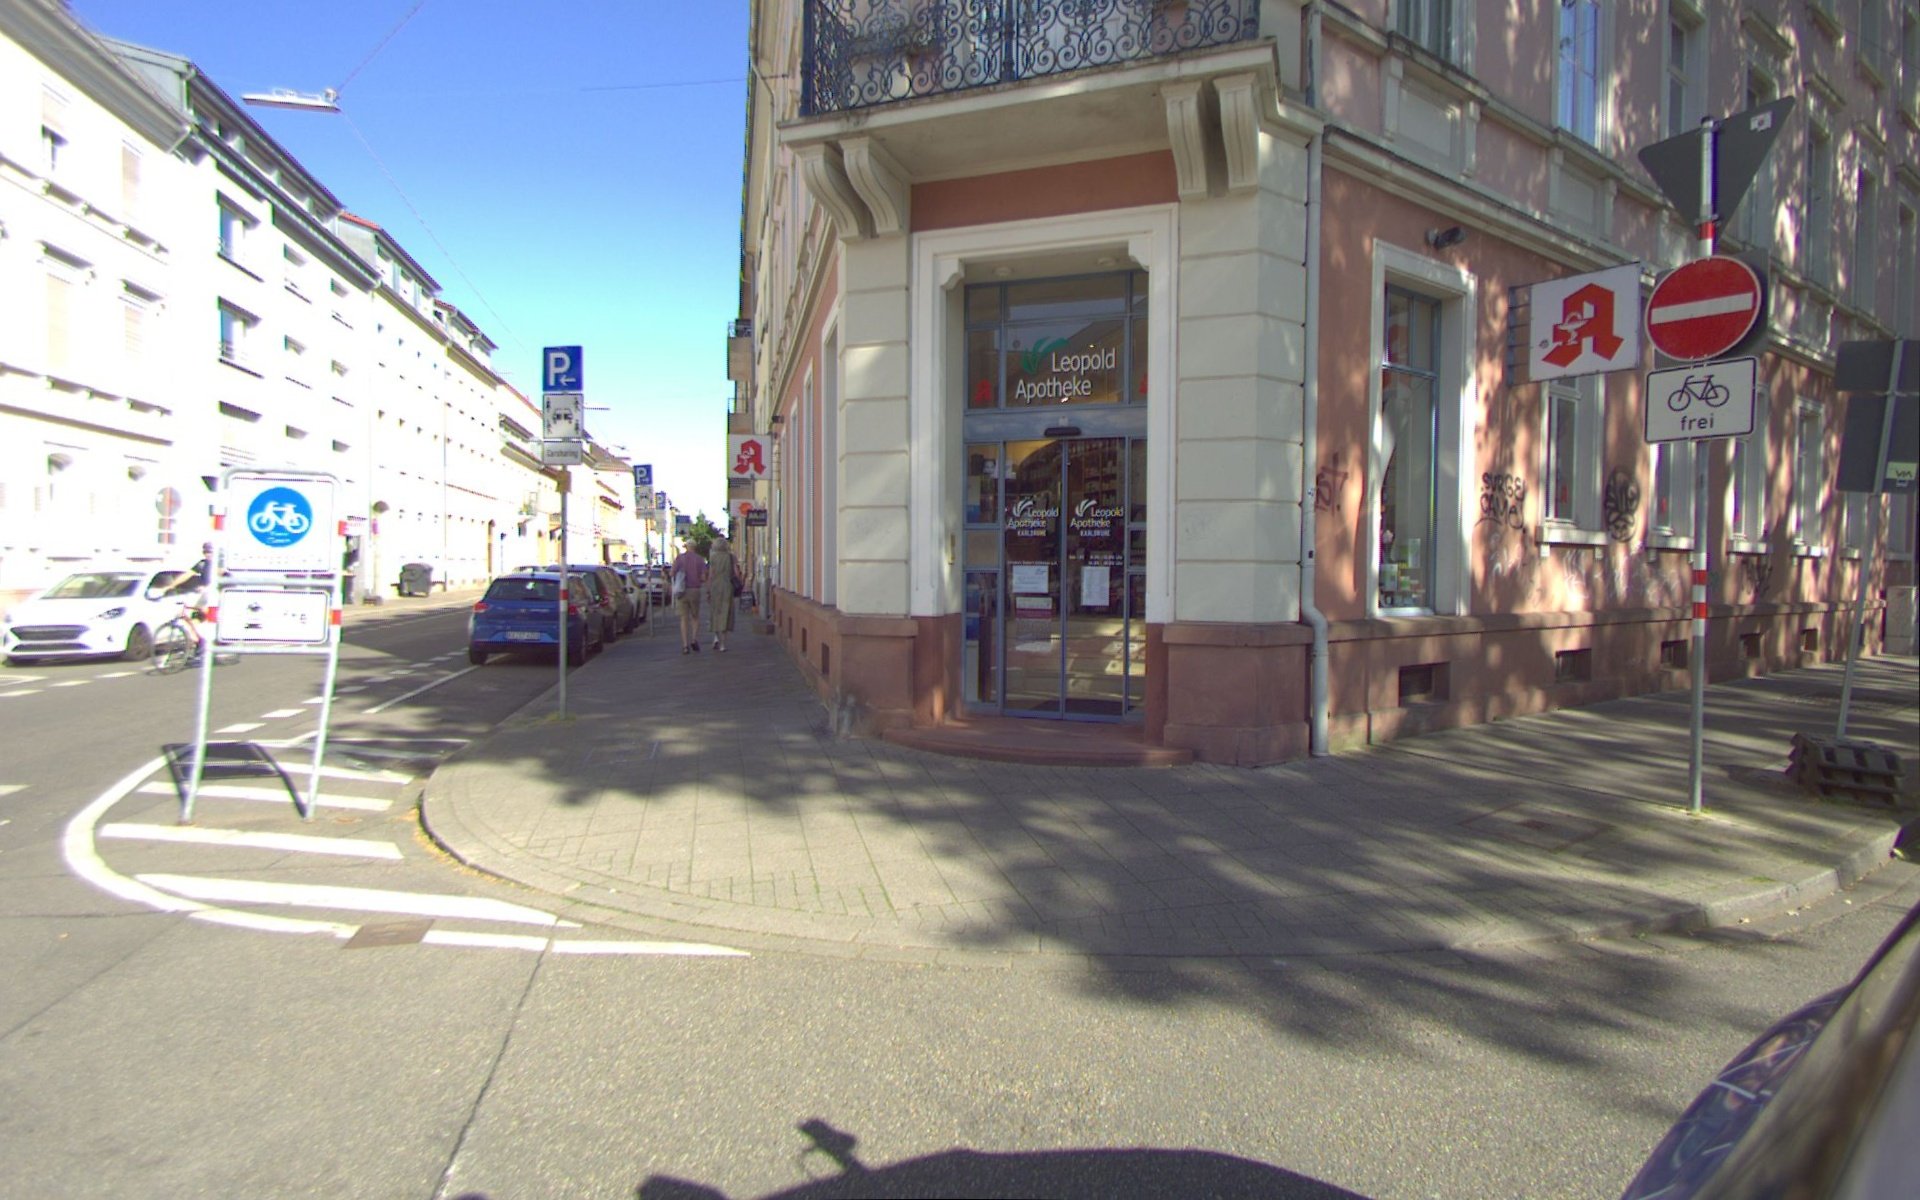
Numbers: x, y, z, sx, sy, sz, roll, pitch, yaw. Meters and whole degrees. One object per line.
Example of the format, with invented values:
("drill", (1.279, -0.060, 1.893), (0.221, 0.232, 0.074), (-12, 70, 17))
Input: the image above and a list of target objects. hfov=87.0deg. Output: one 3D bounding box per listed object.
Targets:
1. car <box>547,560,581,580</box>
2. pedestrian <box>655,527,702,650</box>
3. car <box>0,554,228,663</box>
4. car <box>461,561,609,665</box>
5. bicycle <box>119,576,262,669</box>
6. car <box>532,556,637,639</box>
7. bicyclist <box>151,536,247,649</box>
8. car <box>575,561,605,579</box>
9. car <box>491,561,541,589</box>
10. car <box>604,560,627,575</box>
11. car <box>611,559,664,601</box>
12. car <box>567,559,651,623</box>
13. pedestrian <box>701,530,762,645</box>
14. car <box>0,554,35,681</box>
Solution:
("car", (-26.682, -2.028, 68.256), (1.671, 1.315, 3.647), (0, 2, -13))
("pedestrian", (-4.462, -0.194, 16.020), (0.559, 1.879, 0.708), (-3, 3, -23))
("car", (-13.889, 0.063, 16.722), (1.598, 1.560, 3.647), (-2, 2, -13))
("car", (-6.988, 0.140, 16.982), (1.671, 1.451, 3.648), (2, 2, -13))
("bicycle", (-10.879, 0.281, 14.401), (0.659, 1.214, 1.928), (0, 2, -4))
("car", (-8.079, -0.121, 22.047), (1.671, 1.556, 3.648), (2, 2, -13))
("bicyclist", (-10.868, -0.122, 14.485), (0.626, 1.566, 1.026), (0, 1, -4))
("car", (-27.678, -2.287, 75.795), (1.671, 1.315, 3.647), (0, 2, -13))
("car", (-21.953, -1.273, 50.154), (1.671, 1.315, 3.647), (0, 2, -13))
("car", (-31.269, -2.977, 91.904), (1.671, 1.315, 3.647), (0, 2, -13))
("car", (-12.537, -0.822, 39.529), (1.671, 1.451, 3.648), (2, 2, -13))
("car", (-9.207, -0.282, 26.779), (1.671, 1.451, 3.648), (2, 2, -13))
("pedestrian", (-3.668, -0.205, 16.216), (0.813, 1.786, 0.753), (-1, 2, -25))
("car", (-12.226, 0.293, 10.725), (1.611, 1.560, 4.393), (-2, 2, -13))
